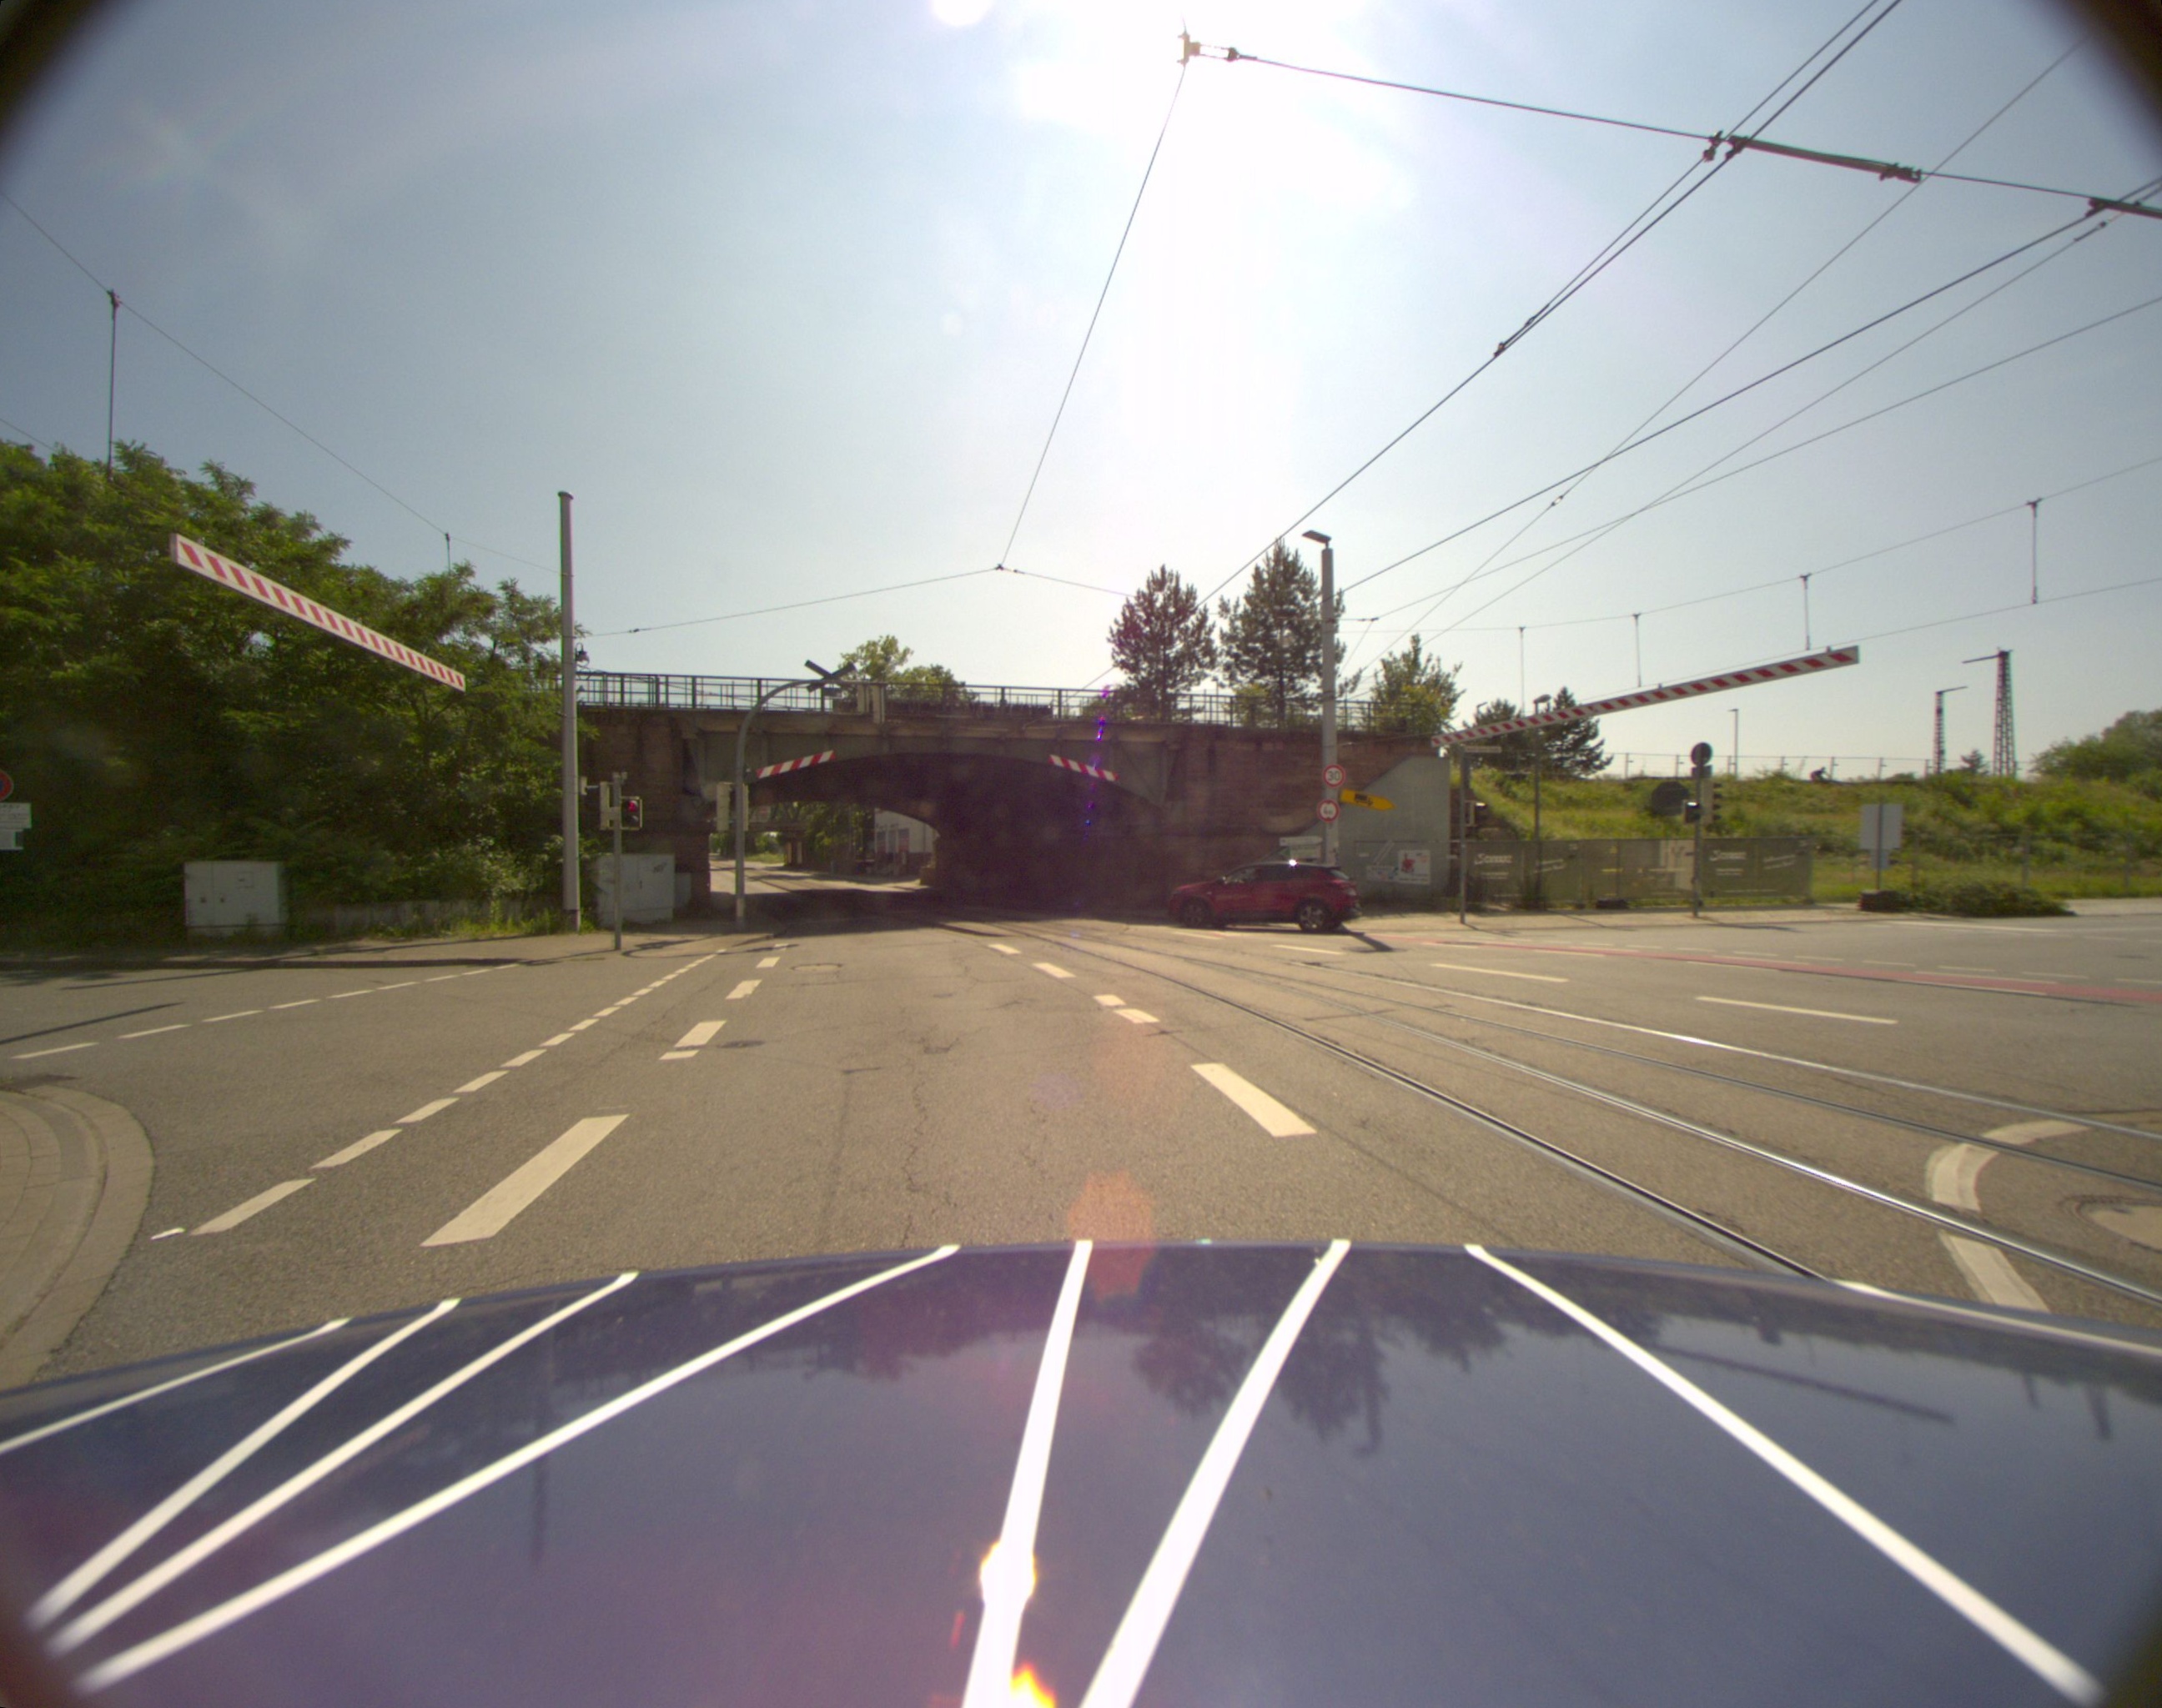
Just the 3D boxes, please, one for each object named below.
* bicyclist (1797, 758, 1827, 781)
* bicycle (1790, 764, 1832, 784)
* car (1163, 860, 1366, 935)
[{"bbox_3d":[47.540,-5.491,49.409,1.063,1.380,0.952,-1,-1,-14],"label":"bicyclist"},{"bbox_3d":[47.446,-5.179,49.376,2.175,1.206,0.936,-1,-1,-13],"label":"bicycle"},{"bbox_3d":[4.268,0.986,17.749,4.296,1.594,1.826,-2,-1,26],"label":"car"}]
